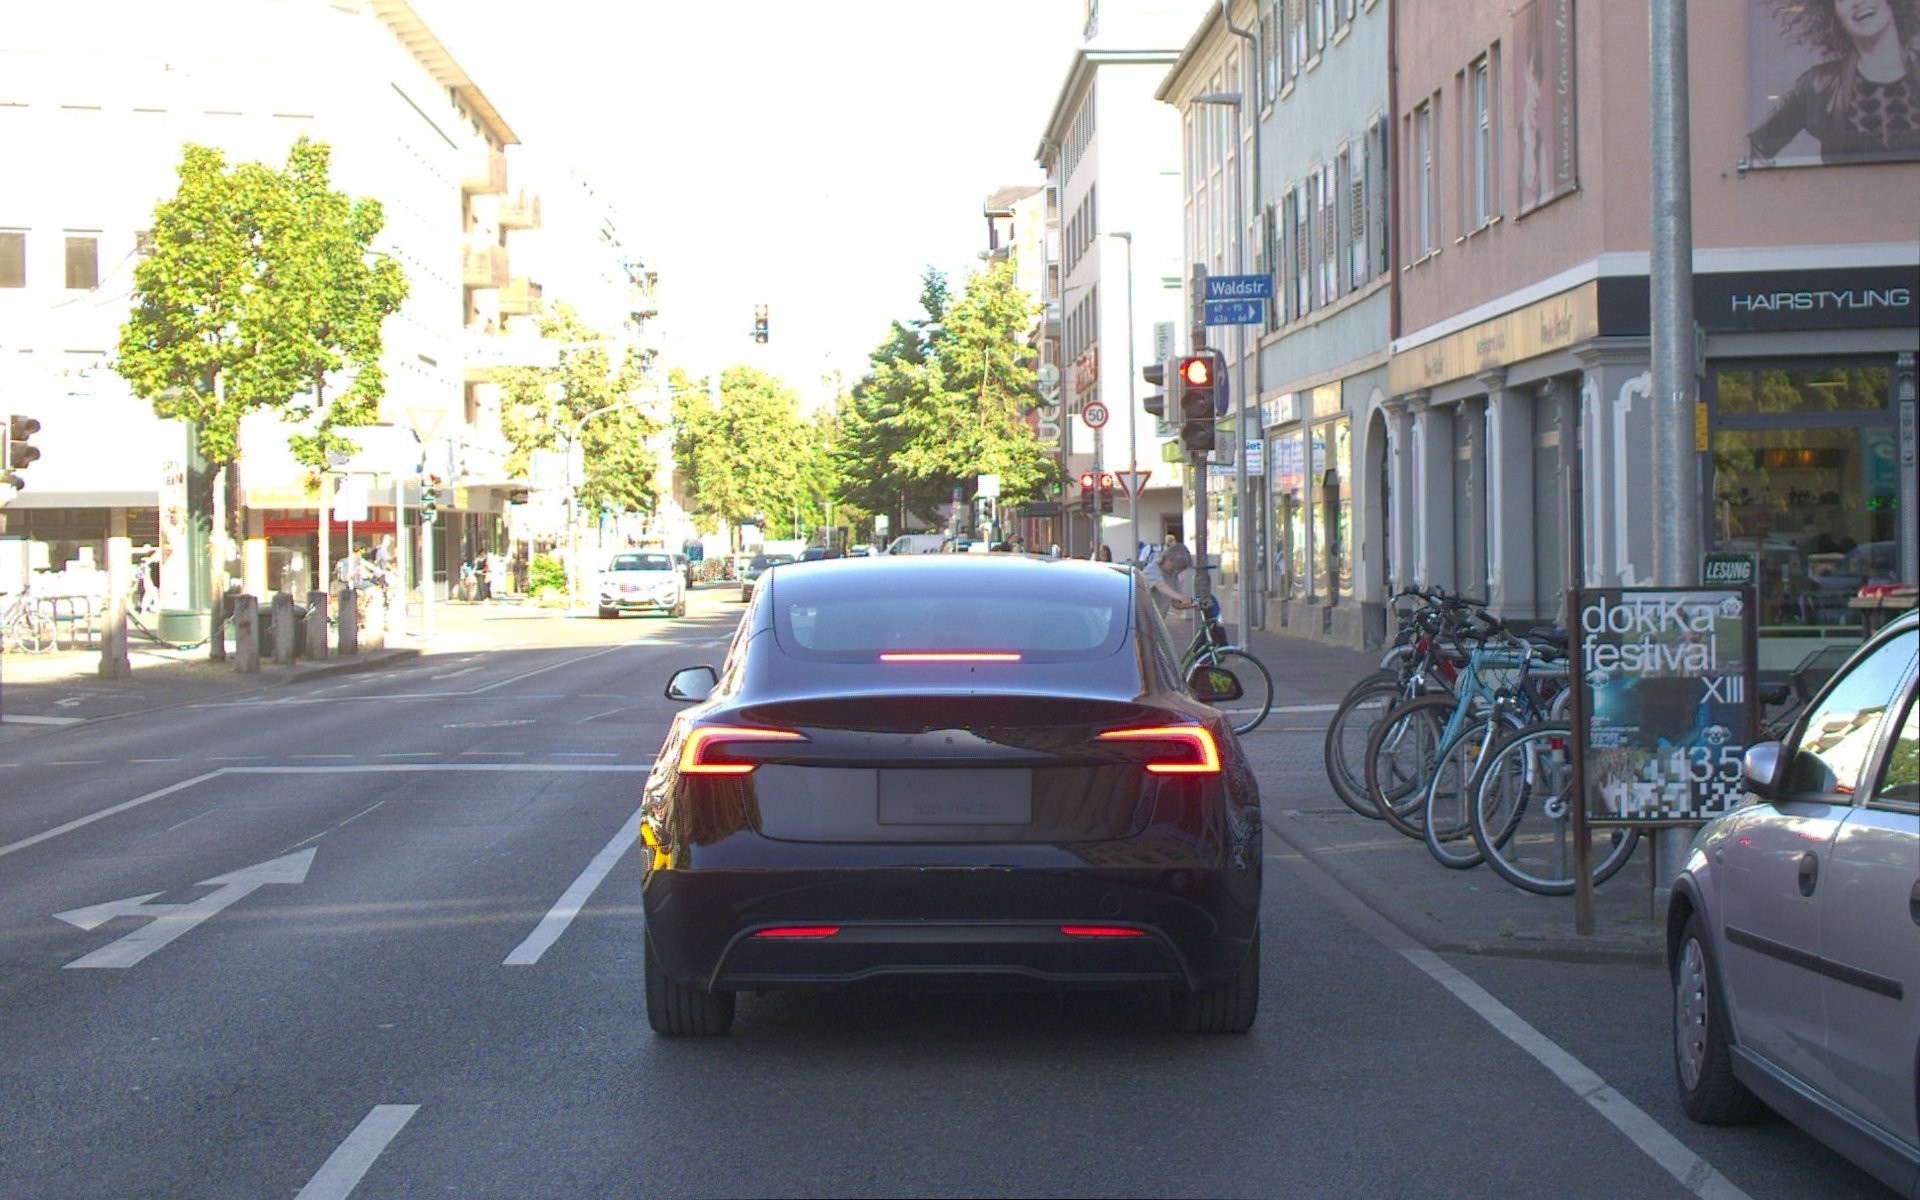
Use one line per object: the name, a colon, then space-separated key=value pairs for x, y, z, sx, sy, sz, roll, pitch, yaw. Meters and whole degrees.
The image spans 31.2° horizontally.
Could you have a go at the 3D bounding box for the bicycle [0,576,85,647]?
bicycle: x=-14.883 y=0.180 z=54.007 sx=2.082 sy=1.100 sz=0.806 roll=0 pitch=1 yaw=0

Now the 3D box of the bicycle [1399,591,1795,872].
bicycle: x=2.798 y=0.570 z=15.157 sx=1.627 sy=1.156 sz=0.433 roll=-2 pitch=1 yaw=-1

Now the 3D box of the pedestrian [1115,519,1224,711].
pedestrian: x=1.602 y=0.109 z=26.217 sx=0.743 sy=1.435 sz=0.582 roll=1 pitch=0 yaw=12

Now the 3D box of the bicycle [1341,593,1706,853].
bicycle: x=2.671 y=0.577 z=16.353 sx=1.627 sy=1.156 sz=0.433 roll=-2 pitch=1 yaw=-1

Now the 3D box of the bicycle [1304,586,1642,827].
bicycle: x=2.623 y=0.539 z=17.650 sx=1.627 sy=1.156 sz=0.433 roll=-2 pitch=1 yaw=-1

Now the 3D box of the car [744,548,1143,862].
car: x=-0.066 y=0.459 z=17.827 sx=1.850 sy=1.450 sz=3.786 roll=0 pitch=1 yaw=0

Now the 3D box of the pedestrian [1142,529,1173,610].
pedestrian: x=4.960 y=-0.772 z=86.395 sx=0.627 sy=2.007 sz=0.558 roll=0 pitch=1 yaw=24

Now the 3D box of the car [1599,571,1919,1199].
car: x=2.586 y=0.646 z=7.641 sx=1.622 sy=1.389 sz=3.886 roll=0 pitch=1 yaw=0

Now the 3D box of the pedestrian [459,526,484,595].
pedestrian: x=-14.184 y=-1.154 z=99.858 sx=0.626 sy=2.007 sz=0.575 roll=0 pitch=1 yaw=0

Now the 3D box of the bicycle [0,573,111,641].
bicycle: x=-15.018 y=0.108 z=56.201 sx=2.082 sy=1.100 sz=0.806 roll=0 pitch=1 yaw=0

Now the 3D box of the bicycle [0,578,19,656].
bicycle: x=-14.634 y=0.233 z=49.232 sx=2.082 sy=1.100 sz=0.806 roll=0 pitch=1 yaw=0

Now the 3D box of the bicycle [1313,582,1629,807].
bicycle: x=2.780 y=0.509 z=18.758 sx=1.628 sy=1.156 sz=0.433 roll=-2 pitch=1 yaw=1

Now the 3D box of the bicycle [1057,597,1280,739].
bicycle: x=1.596 y=0.512 z=26.228 sx=1.616 sy=1.041 sz=0.590 roll=1 pitch=0 yaw=12

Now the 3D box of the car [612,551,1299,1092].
car: x=-0.003 y=0.570 z=11.159 sx=1.850 sy=1.450 sz=3.786 roll=0 pitch=1 yaw=0

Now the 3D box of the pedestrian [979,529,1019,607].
pedestrian: x=1.017 y=-0.842 z=89.706 sx=0.750 sy=2.007 sz=0.798 roll=0 pitch=1 yaw=-26

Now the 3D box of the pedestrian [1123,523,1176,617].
pedestrian: x=3.752 y=-0.598 z=67.999 sx=0.999 sy=1.844 sz=0.615 roll=0 pitch=1 yaw=-1

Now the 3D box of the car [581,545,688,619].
car: x=-7.420 y=-0.429 z=78.686 sx=1.993 sy=1.535 sz=4.000 roll=-4 pitch=1 yaw=0

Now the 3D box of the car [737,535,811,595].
car: x=-5.447 y=-1.047 z=101.251 sx=2.050 sy=1.721 sz=4.654 roll=0 pitch=1 yaw=-2
